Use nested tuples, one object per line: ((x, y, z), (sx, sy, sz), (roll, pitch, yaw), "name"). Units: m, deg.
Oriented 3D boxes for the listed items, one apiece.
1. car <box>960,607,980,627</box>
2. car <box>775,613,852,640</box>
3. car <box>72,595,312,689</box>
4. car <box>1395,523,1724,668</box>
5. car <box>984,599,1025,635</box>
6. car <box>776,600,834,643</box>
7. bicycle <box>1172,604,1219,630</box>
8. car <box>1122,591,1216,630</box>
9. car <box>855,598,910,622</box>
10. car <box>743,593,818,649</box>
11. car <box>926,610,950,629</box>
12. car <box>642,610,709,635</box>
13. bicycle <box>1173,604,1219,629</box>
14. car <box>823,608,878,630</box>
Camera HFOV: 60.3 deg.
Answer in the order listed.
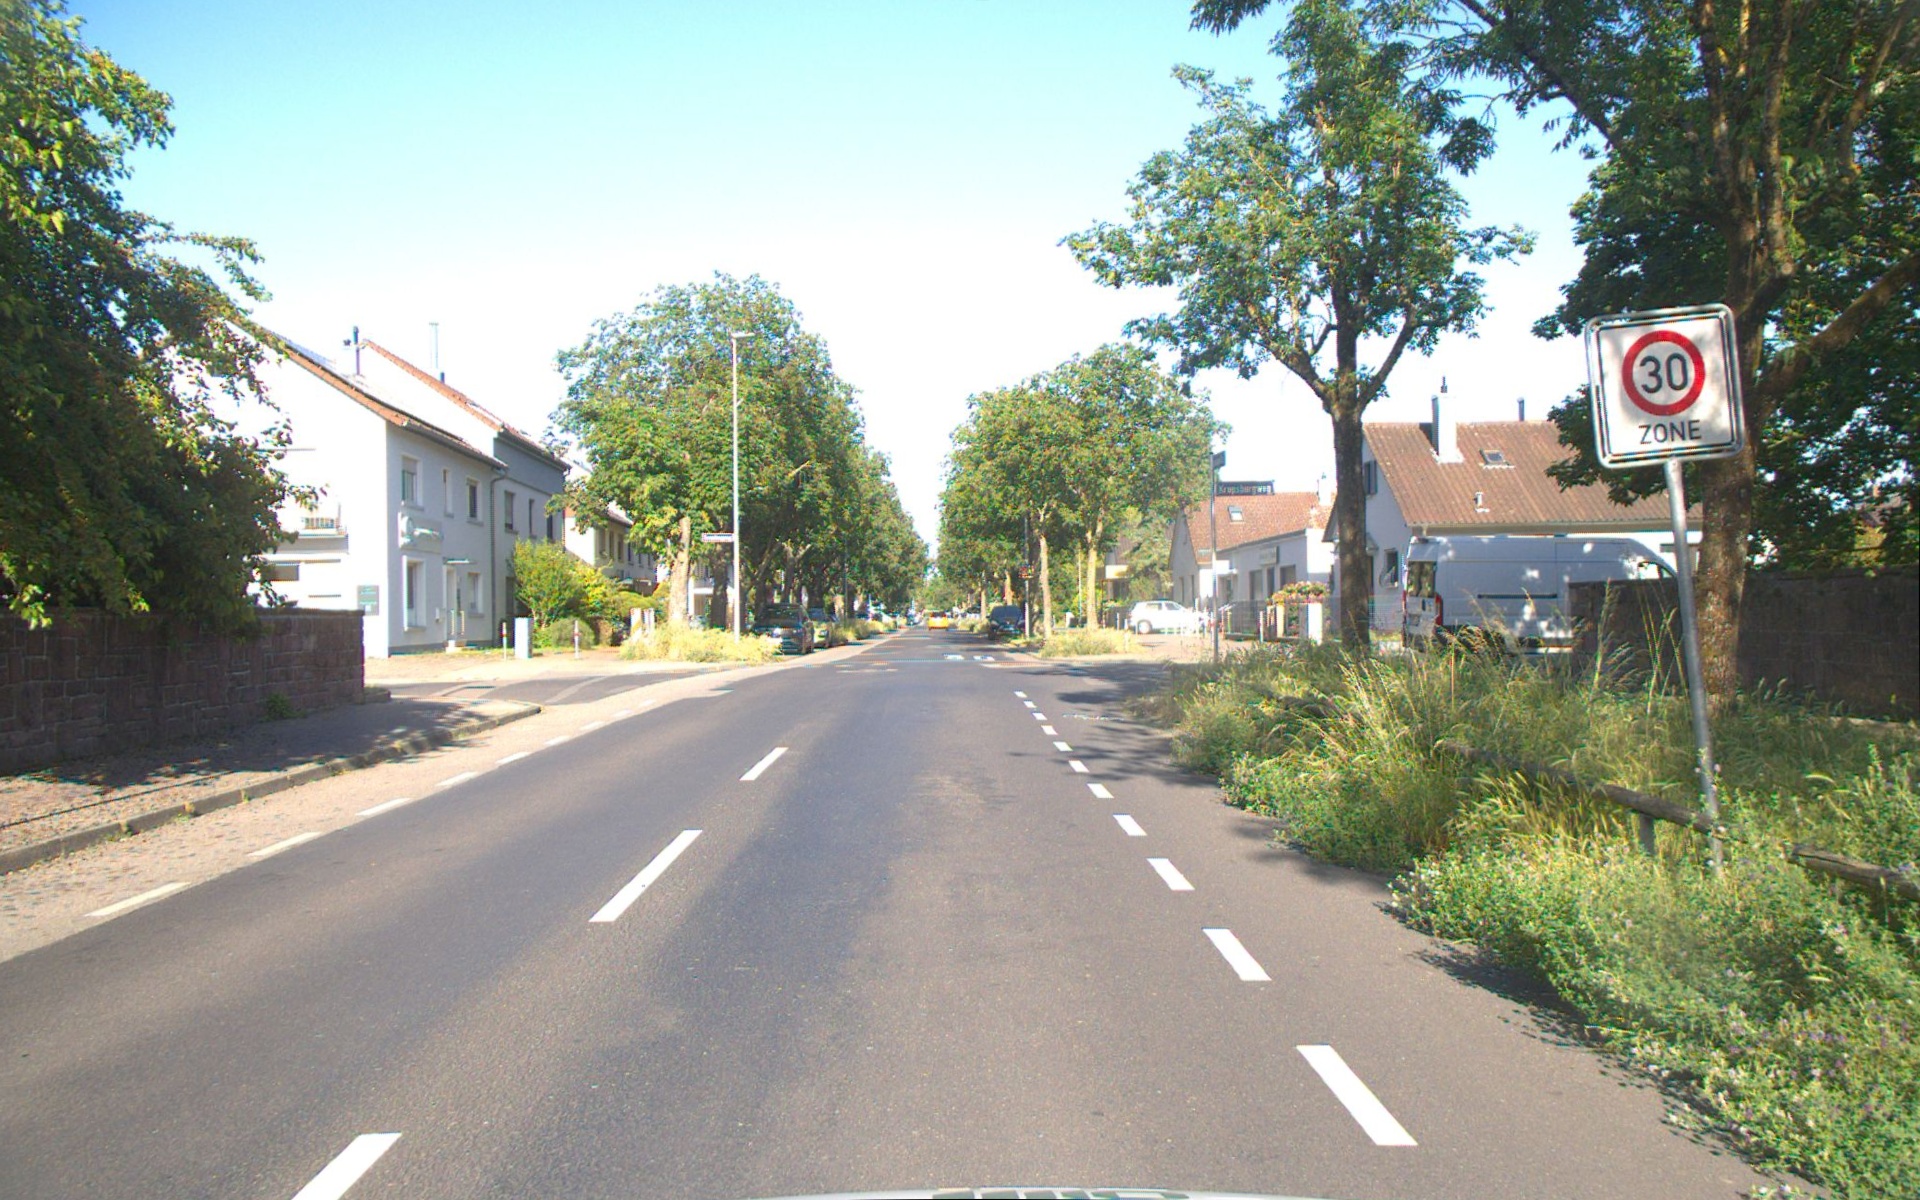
((0.933, 1.620, 155.769), (1.864, 1.805, 4.300), (0, -1, 0), "car")
((-8.774, 1.581, 99.216), (4.462, 1.537, 1.841), (0, 1, -1), "car")
((-17.230, 0.920, 37.269), (4.400, 1.869, 1.999), (-1, 3, -4), "car")
((11.442, -0.091, 31.811), (5.483, 2.583, 2.264), (-1, 0, -3), "car")
((2.199, 0.878, 82.655), (1.815, 1.654, 4.468), (-2, -1, -1), "car")
((-6.202, 0.896, 66.744), (1.899, 1.637, 4.383), (0, -1, 0), "car")
((10.166, 0.746, 71.525), (1.919, 1.016, 0.576), (-3, 1, -3), "bicycle")
((9.405, 0.453, 74.571), (3.907, 1.514, 1.901), (-3, 1, -2), "car")
((-7.675, 0.998, 164.677), (5.388, 2.287, 2.516), (0, 1, -3), "car")
((-5.915, 0.733, 55.049), (1.913, 1.757, 4.874), (0, -1, 0), "car")
((-1.825, 1.631, 135.675), (1.850, 1.505, 3.886), (1, -1, -2), "car")
((-19.847, 1.541, 115.609), (4.465, 1.646, 1.998), (0, 1, -5), "car")
((10.344, 0.721, 72.521), (1.885, 1.016, 0.576), (-3, 1, -3), "bicycle")
((-9.065, 1.556, 136.666), (4.458, 1.796, 1.998), (0, 1, -6), "car")
